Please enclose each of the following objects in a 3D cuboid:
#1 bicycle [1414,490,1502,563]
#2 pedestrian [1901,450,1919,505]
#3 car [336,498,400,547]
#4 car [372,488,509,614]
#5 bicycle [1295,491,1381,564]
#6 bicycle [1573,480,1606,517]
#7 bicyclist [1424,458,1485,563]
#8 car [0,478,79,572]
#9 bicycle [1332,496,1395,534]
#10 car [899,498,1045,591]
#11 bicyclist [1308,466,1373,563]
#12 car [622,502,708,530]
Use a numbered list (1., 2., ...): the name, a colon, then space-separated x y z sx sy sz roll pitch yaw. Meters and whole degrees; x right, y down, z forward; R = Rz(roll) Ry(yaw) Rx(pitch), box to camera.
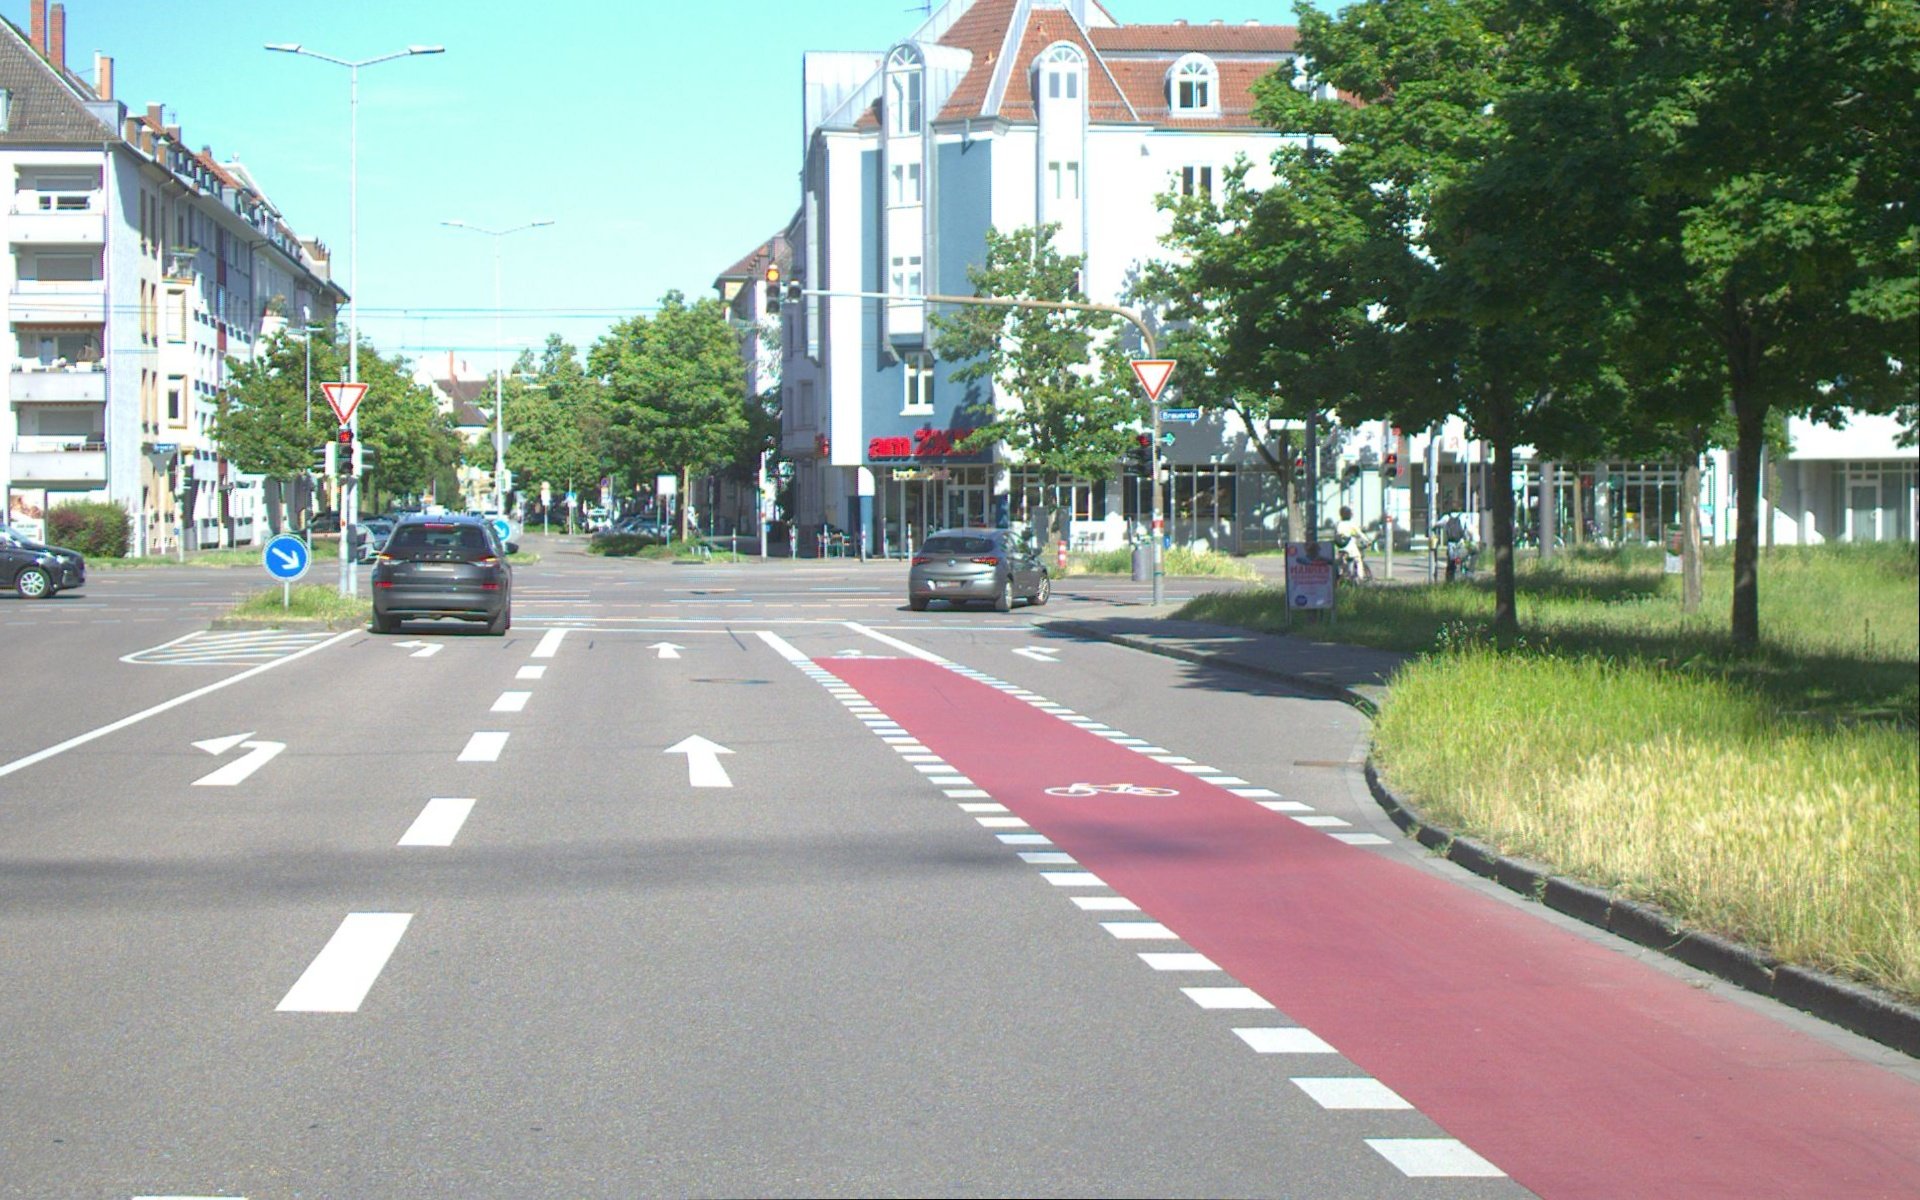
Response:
1. bicycle: 9.461 -1.407 65.228 0.792 1.343 2.259 1 2 32
2. pedestrian: 30.291 -3.856 108.449 0.989 1.717 0.654 -1 2 -7
3. car: -19.972 -2.623 116.107 1.753 1.550 3.732 2 2 -5
4. car: -7.262 -0.723 48.360 1.753 1.622 4.479 2 2 -7
5. bicycle: 7.151 -1.373 65.017 0.792 1.343 2.075 1 2 32
6. bicycle: 20.167 -3.251 110.148 0.560 1.178 1.870 -1 2 -4
7. bicyclist: 9.375 -1.700 65.105 0.792 1.952 1.009 1 2 32
8. car: -19.908 -1.558 68.221 4.481 1.794 1.765 2 1 -9
9. bicycle: 12.722 -2.680 108.382 1.863 1.178 0.562 -1 2 -10
10. car: 0.249 -1.005 61.914 1.689 1.572 3.869 3 2 14
11. bicyclist: 7.214 -1.621 65.116 0.792 1.818 1.133 1 2 32
12. car: -13.120 -3.715 152.744 3.566 1.219 1.731 0 1 -14
